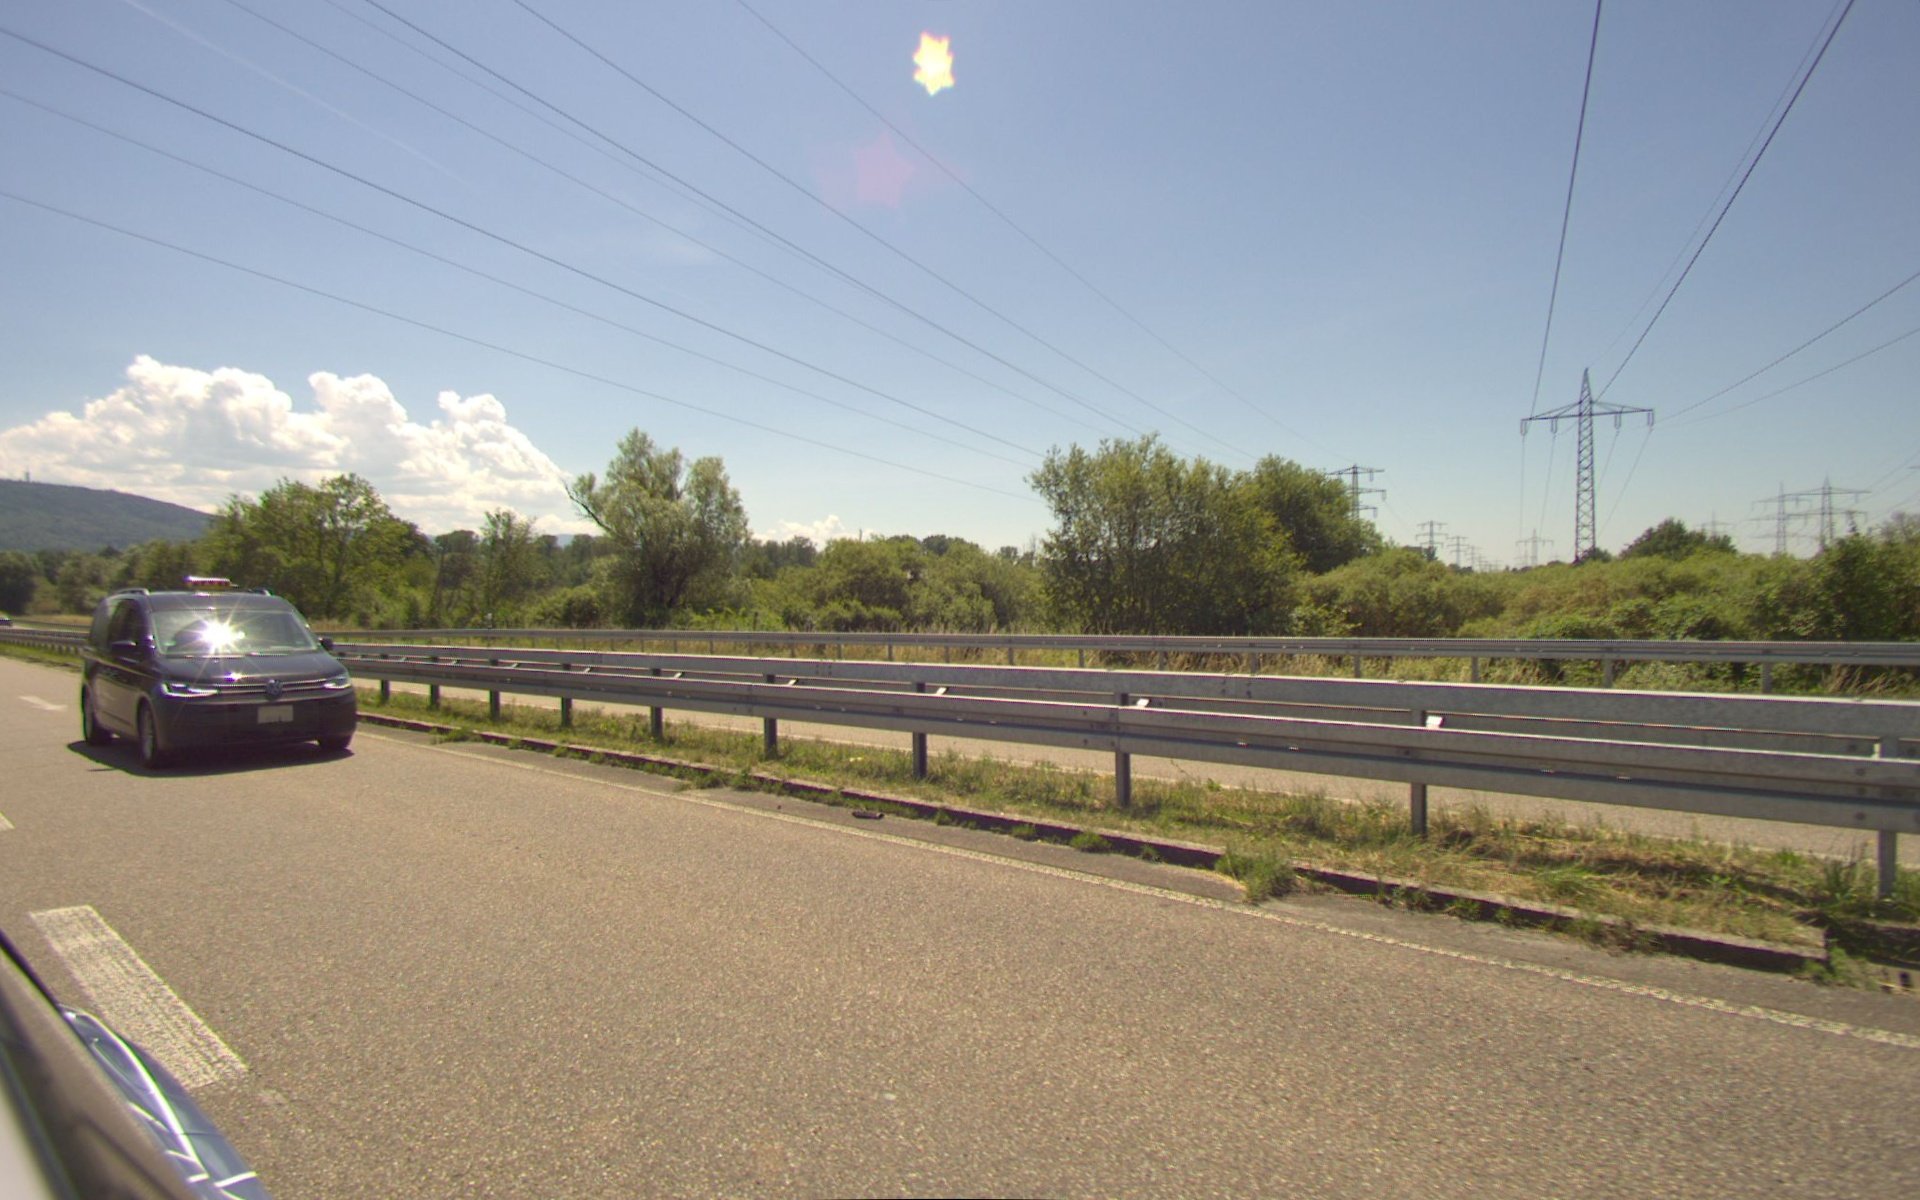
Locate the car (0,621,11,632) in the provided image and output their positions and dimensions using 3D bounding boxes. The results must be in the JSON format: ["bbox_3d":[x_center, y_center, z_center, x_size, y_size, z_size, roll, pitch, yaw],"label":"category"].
[{"bbox_3d":[-118.434,3.278,124.657,4.657,1.395,1.903,-2,-2,43],"label":"car"}]

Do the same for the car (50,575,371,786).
[{"bbox_3d":[-8.816,0.779,11.669,5.570,1.901,1.835,-1,-1,41],"label":"car"}]
